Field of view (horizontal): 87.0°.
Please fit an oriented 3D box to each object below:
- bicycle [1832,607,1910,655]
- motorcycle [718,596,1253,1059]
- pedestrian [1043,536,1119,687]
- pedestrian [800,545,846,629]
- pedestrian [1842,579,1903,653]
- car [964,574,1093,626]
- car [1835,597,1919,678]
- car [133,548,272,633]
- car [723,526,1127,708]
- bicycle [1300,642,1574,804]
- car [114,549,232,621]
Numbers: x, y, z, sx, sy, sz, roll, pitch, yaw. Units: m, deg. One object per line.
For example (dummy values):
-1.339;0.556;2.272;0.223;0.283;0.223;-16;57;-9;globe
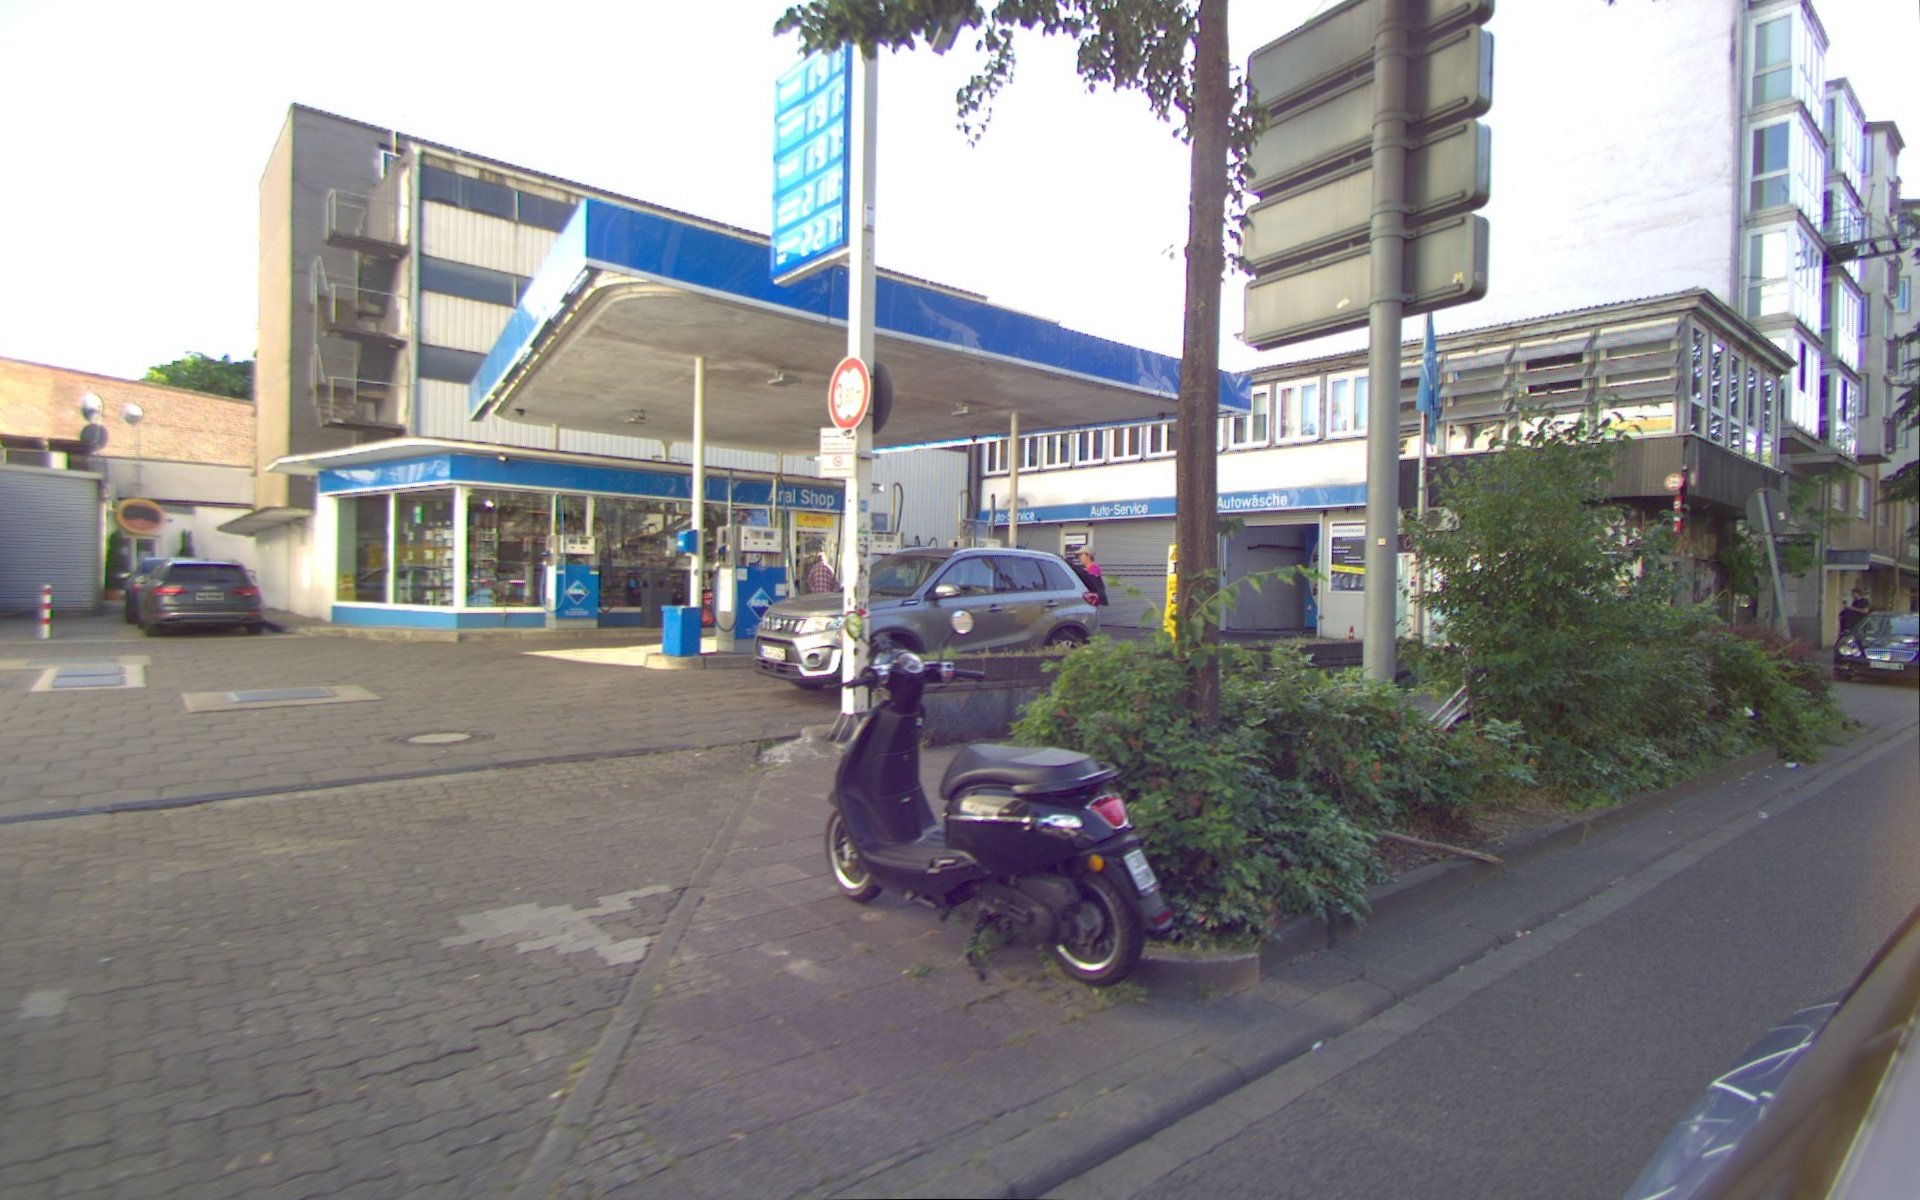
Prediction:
24.245;0.808;26.965;0.671;1.163;1.681;1;1;8;bicycle
0.033;0.687;4.032;1.974;1.346;0.899;2;1;38;motorcycle
1.557;0.125;13.004;0.684;1.873;0.701;2;1;34;pedestrian
-2.950;-0.279;21.899;0.803;1.764;0.820;1;0;6;pedestrian
24.781;0.425;27.486;0.745;1.960;0.930;1;1;-15;pedestrian
1.960;-0.046;30.098;1.869;1.375;4.005;1;2;-31;car
19.149;0.713;20.160;4.565;1.429;1.905;0;3;-41;car
-14.728;-0.237;19.685;1.963;1.482;3.998;1;2;-38;car
-0.282;0.131;11.346;4.216;1.668;1.906;0;2;-39;car
3.193;0.818;6.812;1.638;1.001;0.437;2;1;-5;bicycle
-17.872;-0.383;23.035;1.963;1.482;3.998;1;2;-38;car
